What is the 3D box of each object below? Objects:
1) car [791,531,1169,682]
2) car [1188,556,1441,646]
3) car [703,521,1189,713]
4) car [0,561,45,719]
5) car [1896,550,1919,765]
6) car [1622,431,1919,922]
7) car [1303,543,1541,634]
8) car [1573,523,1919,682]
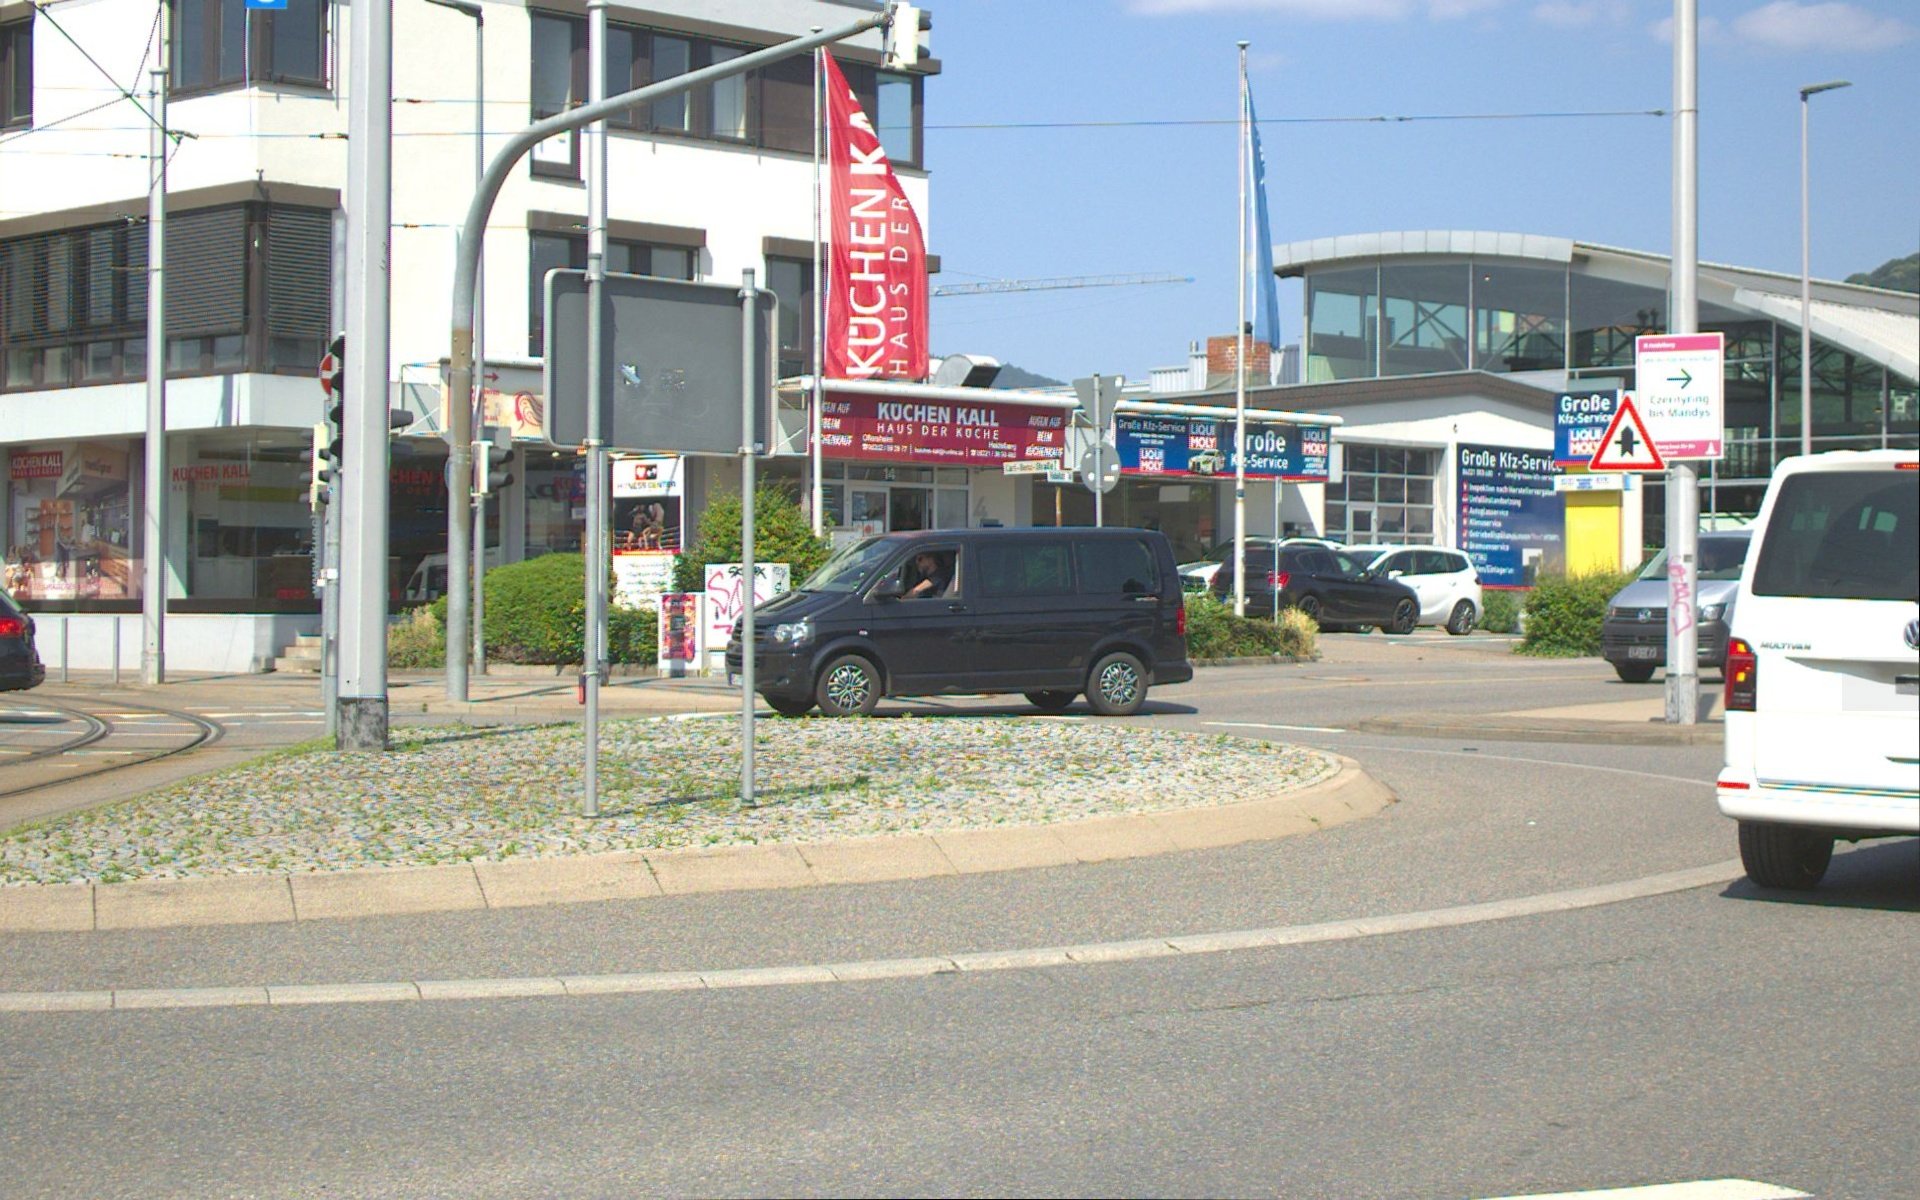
[{"bbox_3d":[0.330,0.068,46.882,5.266,1.959,1.965,0,1,-44],"label":"car"},{"bbox_3d":[5.906,0.009,56.982,2.031,1.422,4.306,1,1,42],"label":"car"},{"bbox_3d":[-0.148,0.142,35.973,4.623,1.904,2.099,0,1,-23],"label":"car"},{"bbox_3d":[-11.384,0.369,34.303,4.227,1.550,1.970,0,0,-11],"label":"car"},{"bbox_3d":[9.200,0.458,29.604,1.995,1.727,4.560,1,0,18],"label":"car"},{"bbox_3d":[5.086,0.305,16.304,2.166,2.007,5.009,2,1,31],"label":"car"},{"bbox_3d":[8.566,-0.189,63.466,1.885,1.583,4.916,-2,-1,42],"label":"car"},{"bbox_3d":[10.156,0.024,43.771,4.815,1.929,1.933,0,1,-39],"label":"car"}]
